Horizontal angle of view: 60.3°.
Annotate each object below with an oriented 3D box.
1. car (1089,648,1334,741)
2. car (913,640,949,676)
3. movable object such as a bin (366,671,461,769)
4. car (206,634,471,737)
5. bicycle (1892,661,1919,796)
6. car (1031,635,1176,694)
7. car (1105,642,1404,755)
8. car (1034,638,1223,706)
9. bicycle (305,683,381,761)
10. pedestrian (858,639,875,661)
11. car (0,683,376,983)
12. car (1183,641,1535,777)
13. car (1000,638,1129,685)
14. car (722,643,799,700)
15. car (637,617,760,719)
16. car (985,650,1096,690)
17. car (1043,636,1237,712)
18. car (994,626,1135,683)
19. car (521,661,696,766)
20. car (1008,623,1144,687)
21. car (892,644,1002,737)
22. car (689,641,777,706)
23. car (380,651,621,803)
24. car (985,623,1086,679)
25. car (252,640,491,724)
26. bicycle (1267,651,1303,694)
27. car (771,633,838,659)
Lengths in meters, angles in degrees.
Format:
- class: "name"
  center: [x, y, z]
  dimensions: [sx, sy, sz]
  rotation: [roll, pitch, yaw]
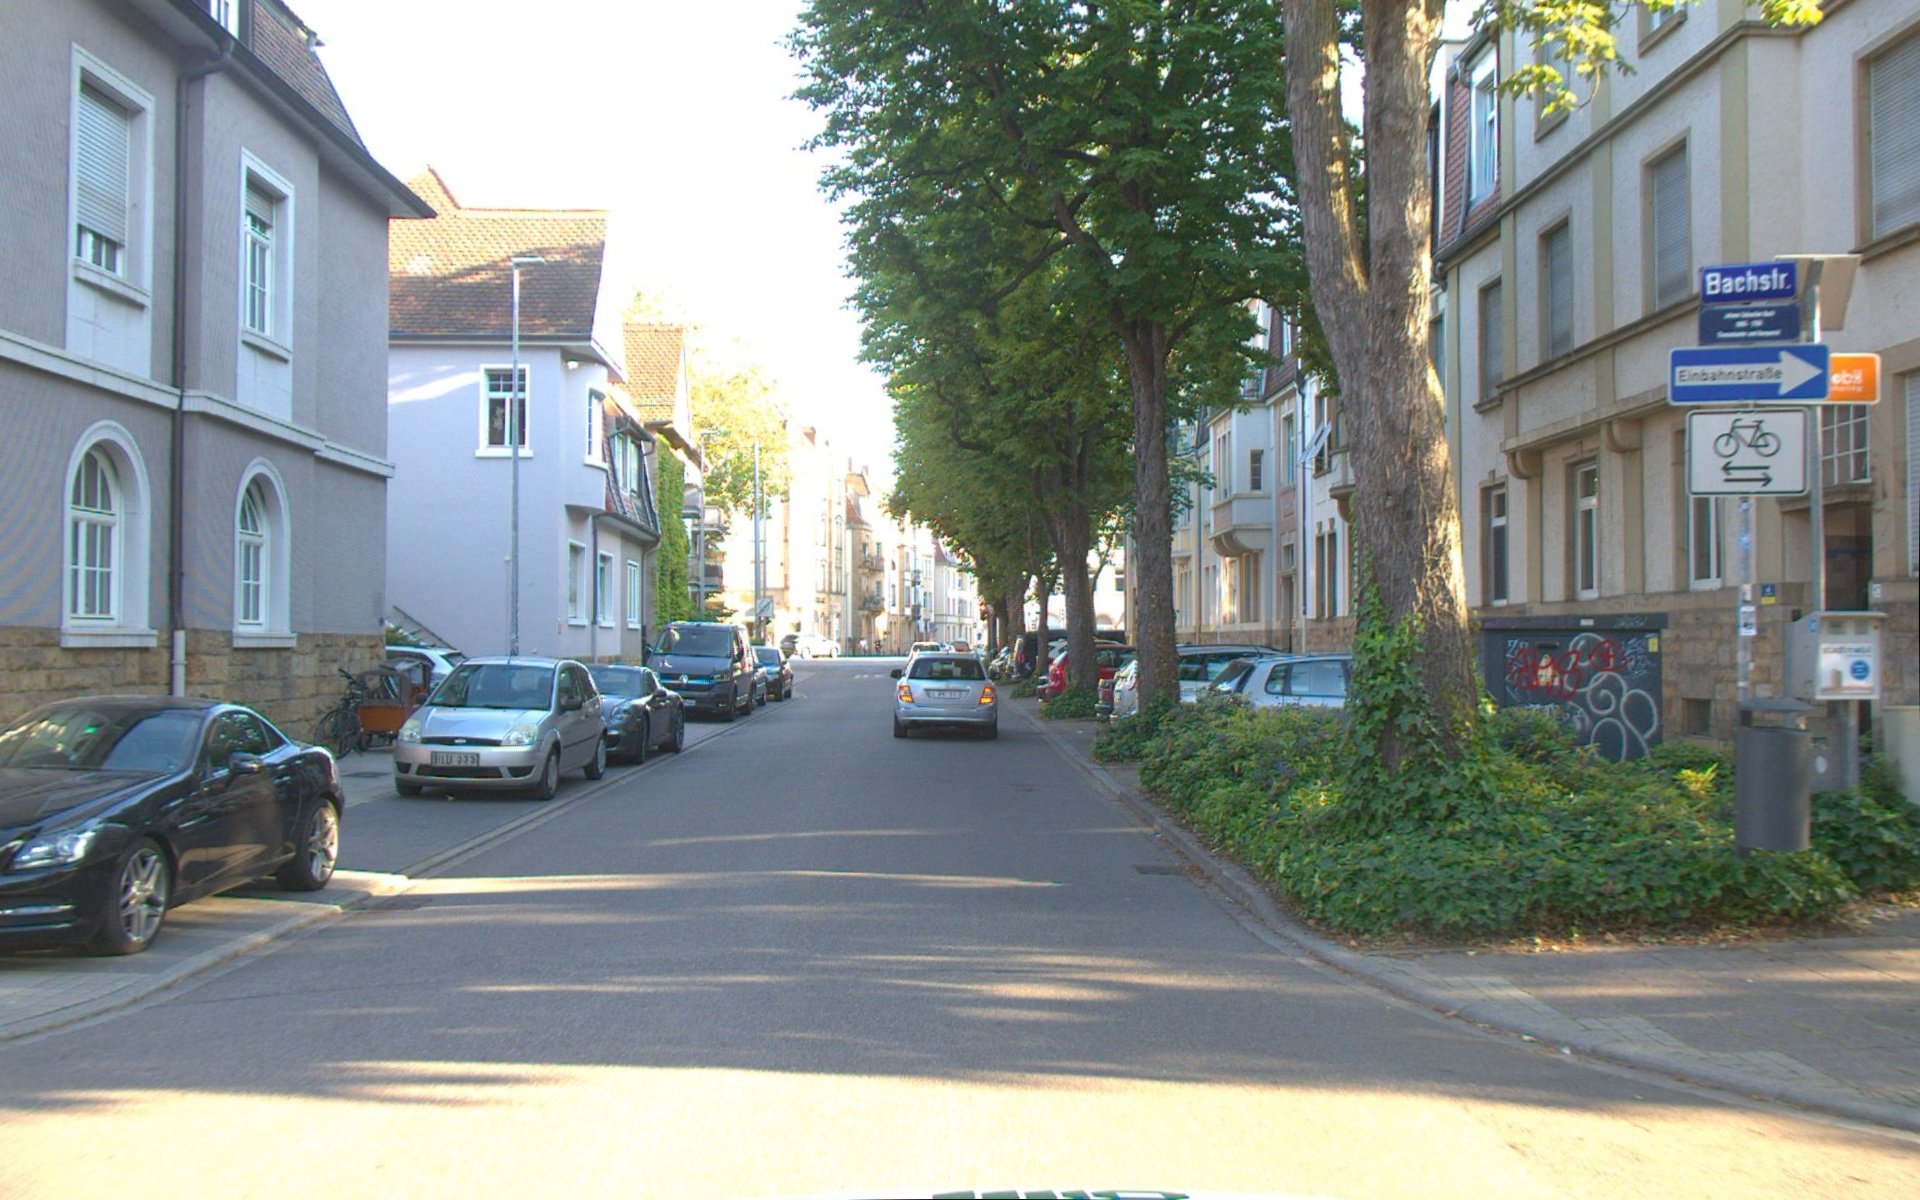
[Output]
- class: "car"
  center: [4.064, 1.524, 27.151]
  dimensions: [3.716, 1.463, 1.817]
  rotation: [0, -2, -2]
- class: "car"
  center: [-1.316, 2.624, 75.796]
  dimensions: [1.590, 1.597, 3.679]
  rotation: [0, -1, 0]
- class: "movable object such as a bin"
  center: [-7.911, 1.716, 24.035]
  dimensions: [0.707, 1.306, 2.095]
  rotation: [0, -1, -1]
- class: "car"
  center: [-10.442, 1.426, 28.030]
  dimensions: [3.788, 1.650, 1.895]
  rotation: [1, -1, -5]
- class: "bicycle"
  center: [9.139, 1.174, 14.651]
  dimensions: [0.573, 1.233, 1.956]
  rotation: [0, -1, -3]
- class: "car"
  center: [4.185, 1.878, 48.692]
  dimensions: [4.027, 1.599, 1.876]
  rotation: [-1, -2, -1]
- class: "car"
  center: [4.304, 1.435, 24.522]
  dimensions: [4.067, 1.604, 1.710]
  rotation: [0, -2, -6]
- class: "car"
  center: [3.962, 1.706, 39.529]
  dimensions: [4.320, 1.444, 1.877]
  rotation: [-2, -2, 1]
- class: "bicycle"
  center: [-8.211, 1.606, 22.062]
  dimensions: [0.386, 0.953, 1.721]
  rotation: [0, -1, -1]
- class: "pedestrian"
  center: [-7.685, 4.145, 136.254]
  dimensions: [1.195, 1.752, 1.503]
  rotation: [1, -2, 2]
- class: "car"
  center: [-5.151, 1.238, 10.104]
  dimensions: [1.619, 1.347, 4.045]
  rotation: [1, -2, 1]
- class: "car"
  center: [4.712, 1.264, 19.835]
  dimensions: [3.720, 1.463, 1.747]
  rotation: [-1, -2, -6]
- class: "car"
  center: [3.541, 2.087, 56.366]
  dimensions: [4.203, 1.568, 1.875]
  rotation: [0, -1, -4]
- class: "car"
  center: [-5.520, 1.956, 46.198]
  dimensions: [1.660, 1.472, 4.356]
  rotation: [1, -1, -1]
- class: "car"
  center: [-5.483, 1.412, 35.294]
  dimensions: [1.942, 1.982, 4.849]
  rotation: [1, -1, -2]
- class: "car"
  center: [3.162, 2.748, 65.532]
  dimensions: [4.203, 1.442, 1.875]
  rotation: [-1, -1, -4]
- class: "car"
  center: [3.939, 1.633, 36.794]
  dimensions: [4.103, 1.501, 1.851]
  rotation: [-2, -2, 1]
- class: "car"
  center: [3.806, 1.980, 60.643]
  dimensions: [4.953, 2.024, 2.070]
  rotation: [0, -1, -4]
- class: "car"
  center: [-4.971, 1.579, 23.940]
  dimensions: [1.499, 1.342, 4.226]
  rotation: [1, -2, 1]
- class: "car"
  center: [3.701, 1.770, 53.385]
  dimensions: [4.136, 1.930, 1.904]
  rotation: [-1, -2, -3]
- class: "car"
  center: [-0.219, 1.521, 28.575]
  dimensions: [1.747, 1.463, 3.849]
  rotation: [1, -2, 0]
- class: "car"
  center: [-5.601, 1.797, 41.240]
  dimensions: [1.620, 1.472, 4.236]
  rotation: [2, -1, -1]
- class: "car"
  center: [-5.073, 1.350, 18.794]
  dimensions: [1.620, 1.471, 3.959]
  rotation: [1, -1, 0]
- class: "car"
  center: [3.335, 2.263, 73.397]
  dimensions: [4.301, 2.406, 1.998]
  rotation: [0, -1, -4]
- class: "car"
  center: [-10.676, 1.481, 30.208]
  dimensions: [3.788, 1.469, 1.633]
  rotation: [1, -1, -5]
- class: "bicycle"
  center: [8.525, 1.894, 43.448]
  dimensions: [0.464, 1.075, 2.044]
  rotation: [-2, -1, -2]
- class: "car"
  center: [-10.021, 2.961, 106.651]
  dimensions: [3.967, 1.613, 1.968]
  rotation: [1, -2, -43]
